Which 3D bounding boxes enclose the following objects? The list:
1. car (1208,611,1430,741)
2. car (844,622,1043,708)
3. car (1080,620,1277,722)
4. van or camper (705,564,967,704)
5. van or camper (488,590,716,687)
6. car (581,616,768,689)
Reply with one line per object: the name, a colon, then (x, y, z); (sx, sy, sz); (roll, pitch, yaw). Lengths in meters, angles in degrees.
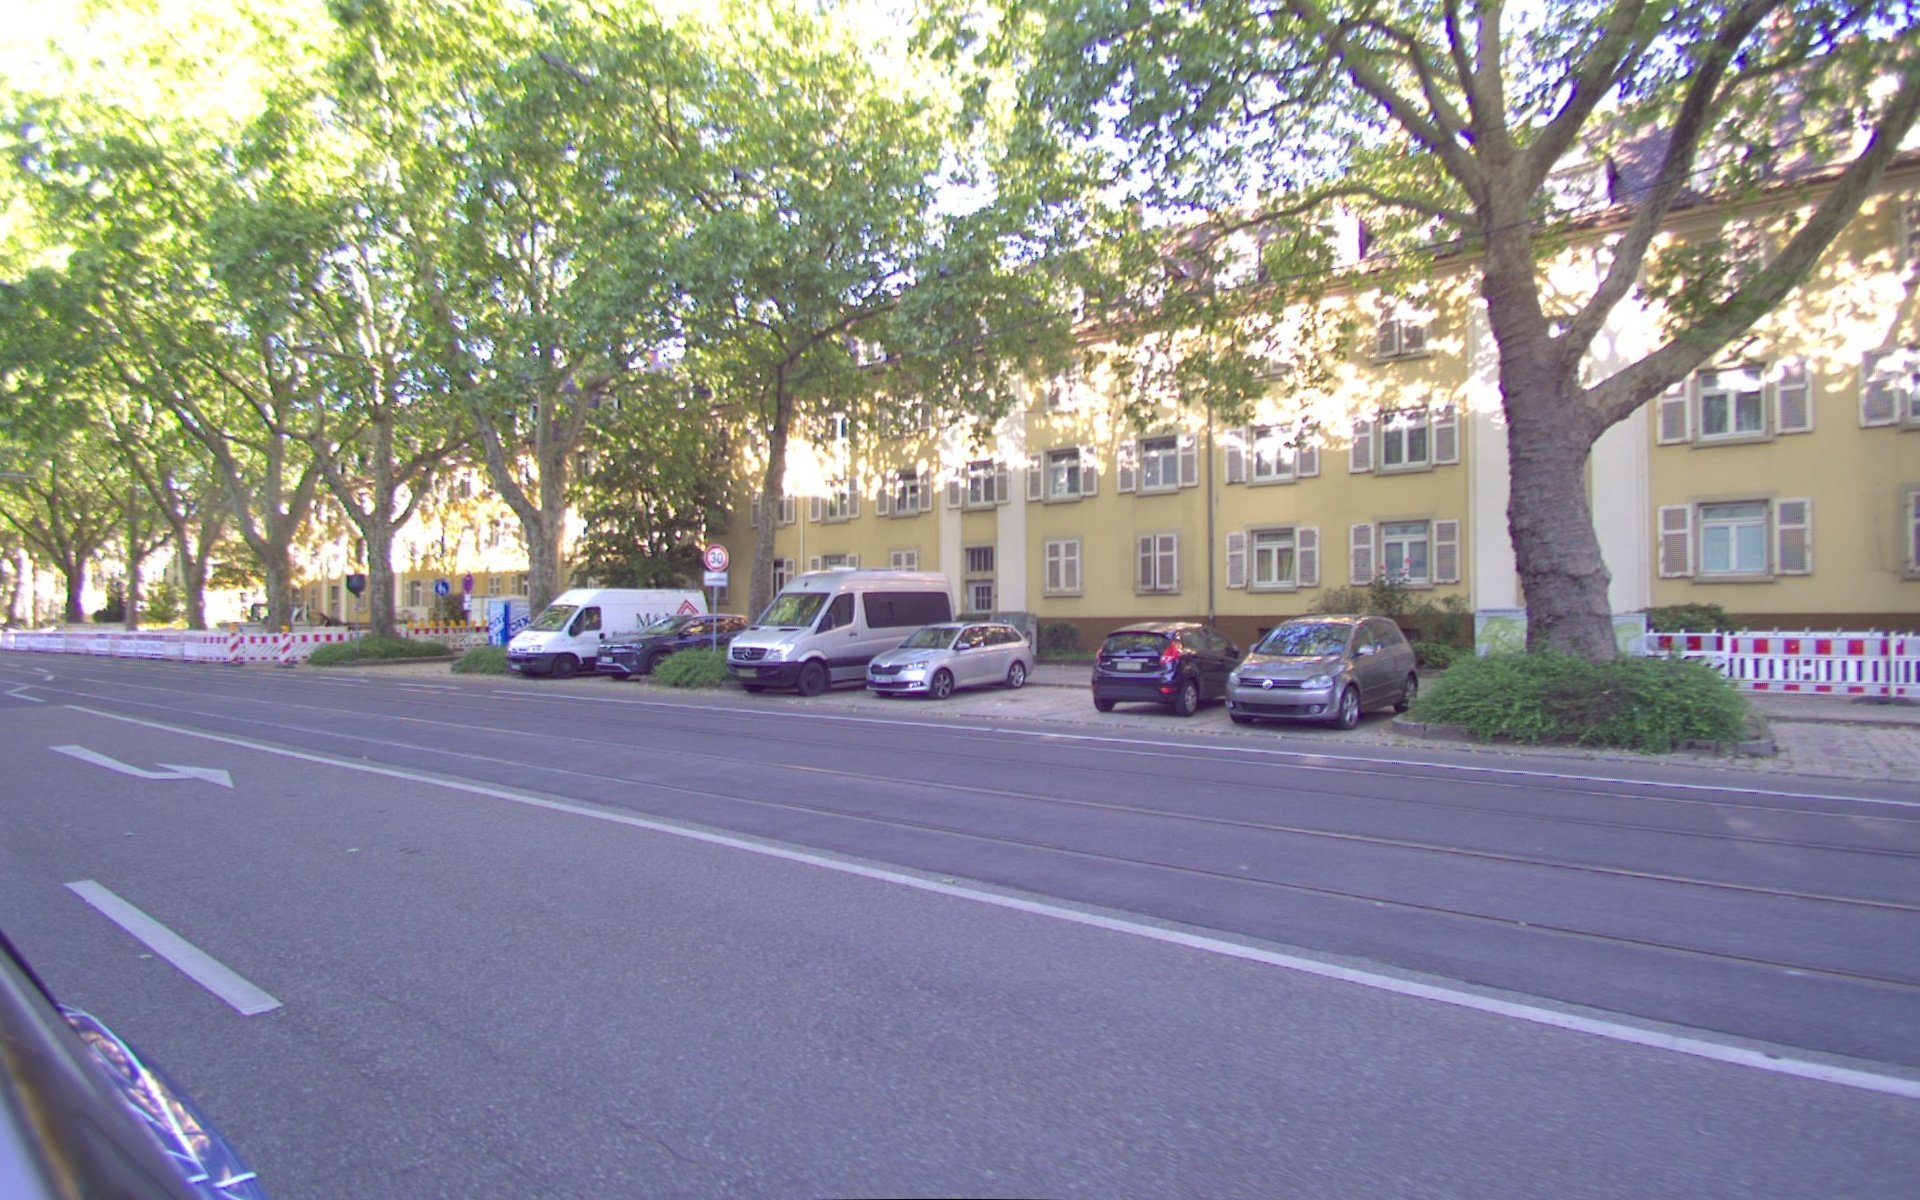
car: (5.493, 1.003, 15.200); (1.843, 1.631, 4.028); (0, 0, 40)
car: (-0.231, 1.230, 20.601); (1.692, 1.457, 4.222); (0, 0, 40)
car: (3.816, 1.103, 17.243); (1.692, 1.457, 3.812); (0, 0, 40)
van or camper: (-2.512, 0.640, 22.136); (2.154, 2.668, 5.858); (0, 0, 39)
van or camper: (-9.739, 0.950, 28.026); (2.154, 2.403, 5.691); (0, 0, 39)
car: (-7.259, 1.269, 26.084); (1.692, 1.645, 4.482); (0, 0, 40)
